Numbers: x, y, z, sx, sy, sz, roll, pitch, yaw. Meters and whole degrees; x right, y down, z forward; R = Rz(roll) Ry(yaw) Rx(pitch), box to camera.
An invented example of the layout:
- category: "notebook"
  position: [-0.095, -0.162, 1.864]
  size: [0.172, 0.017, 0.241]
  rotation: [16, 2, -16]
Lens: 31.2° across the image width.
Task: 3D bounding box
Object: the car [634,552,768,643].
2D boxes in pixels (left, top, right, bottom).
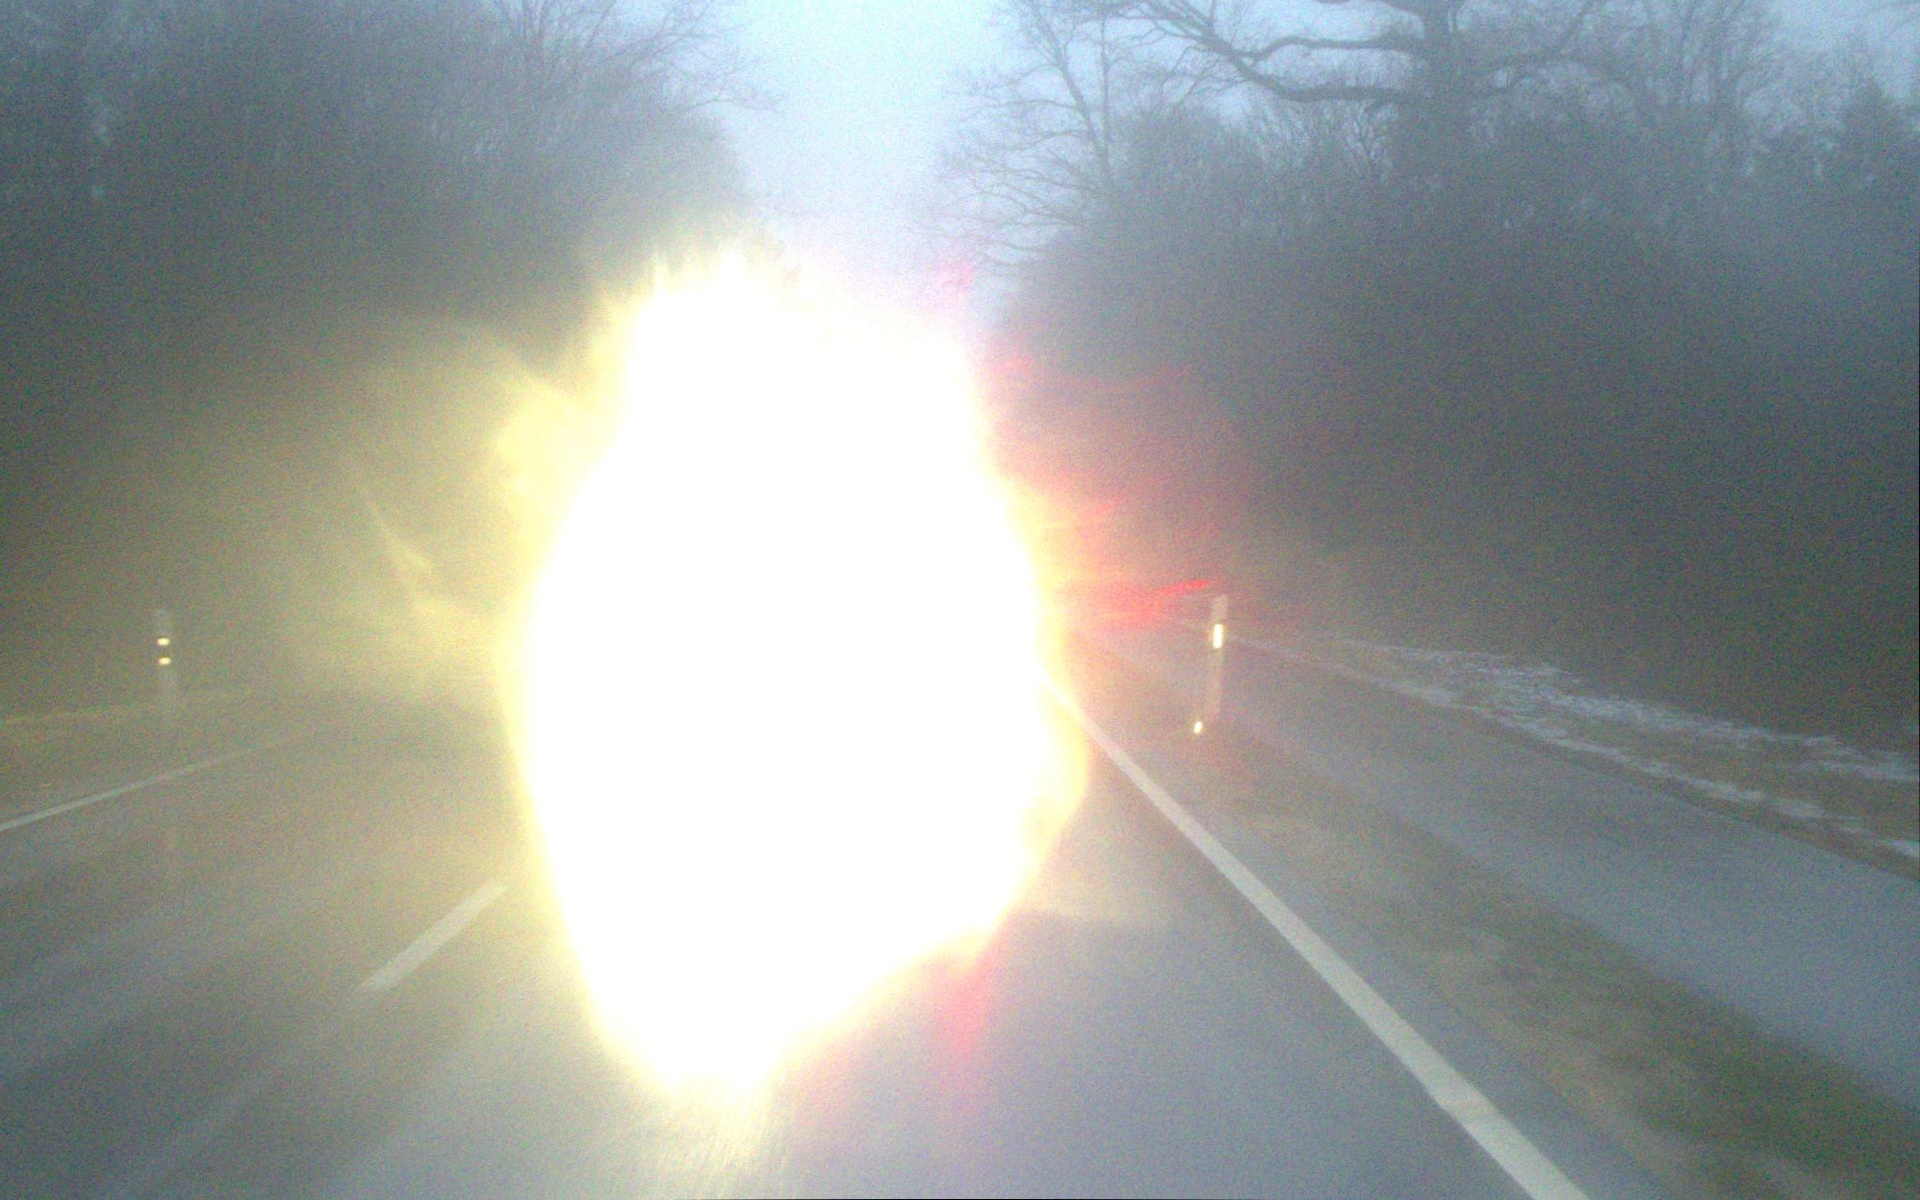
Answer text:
- category: "car"
  position: [-4.824, -0.082, 64.607]
  size: [1.975, 1.562, 4.927]
  rotation: [-1, 1, 2]

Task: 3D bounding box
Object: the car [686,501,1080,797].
- category: "car"
  position: [-0.612, 0.370, 31.379]
  size: [3.183, 2.378, 6.636]
  rotation: [1, 1, 0]
